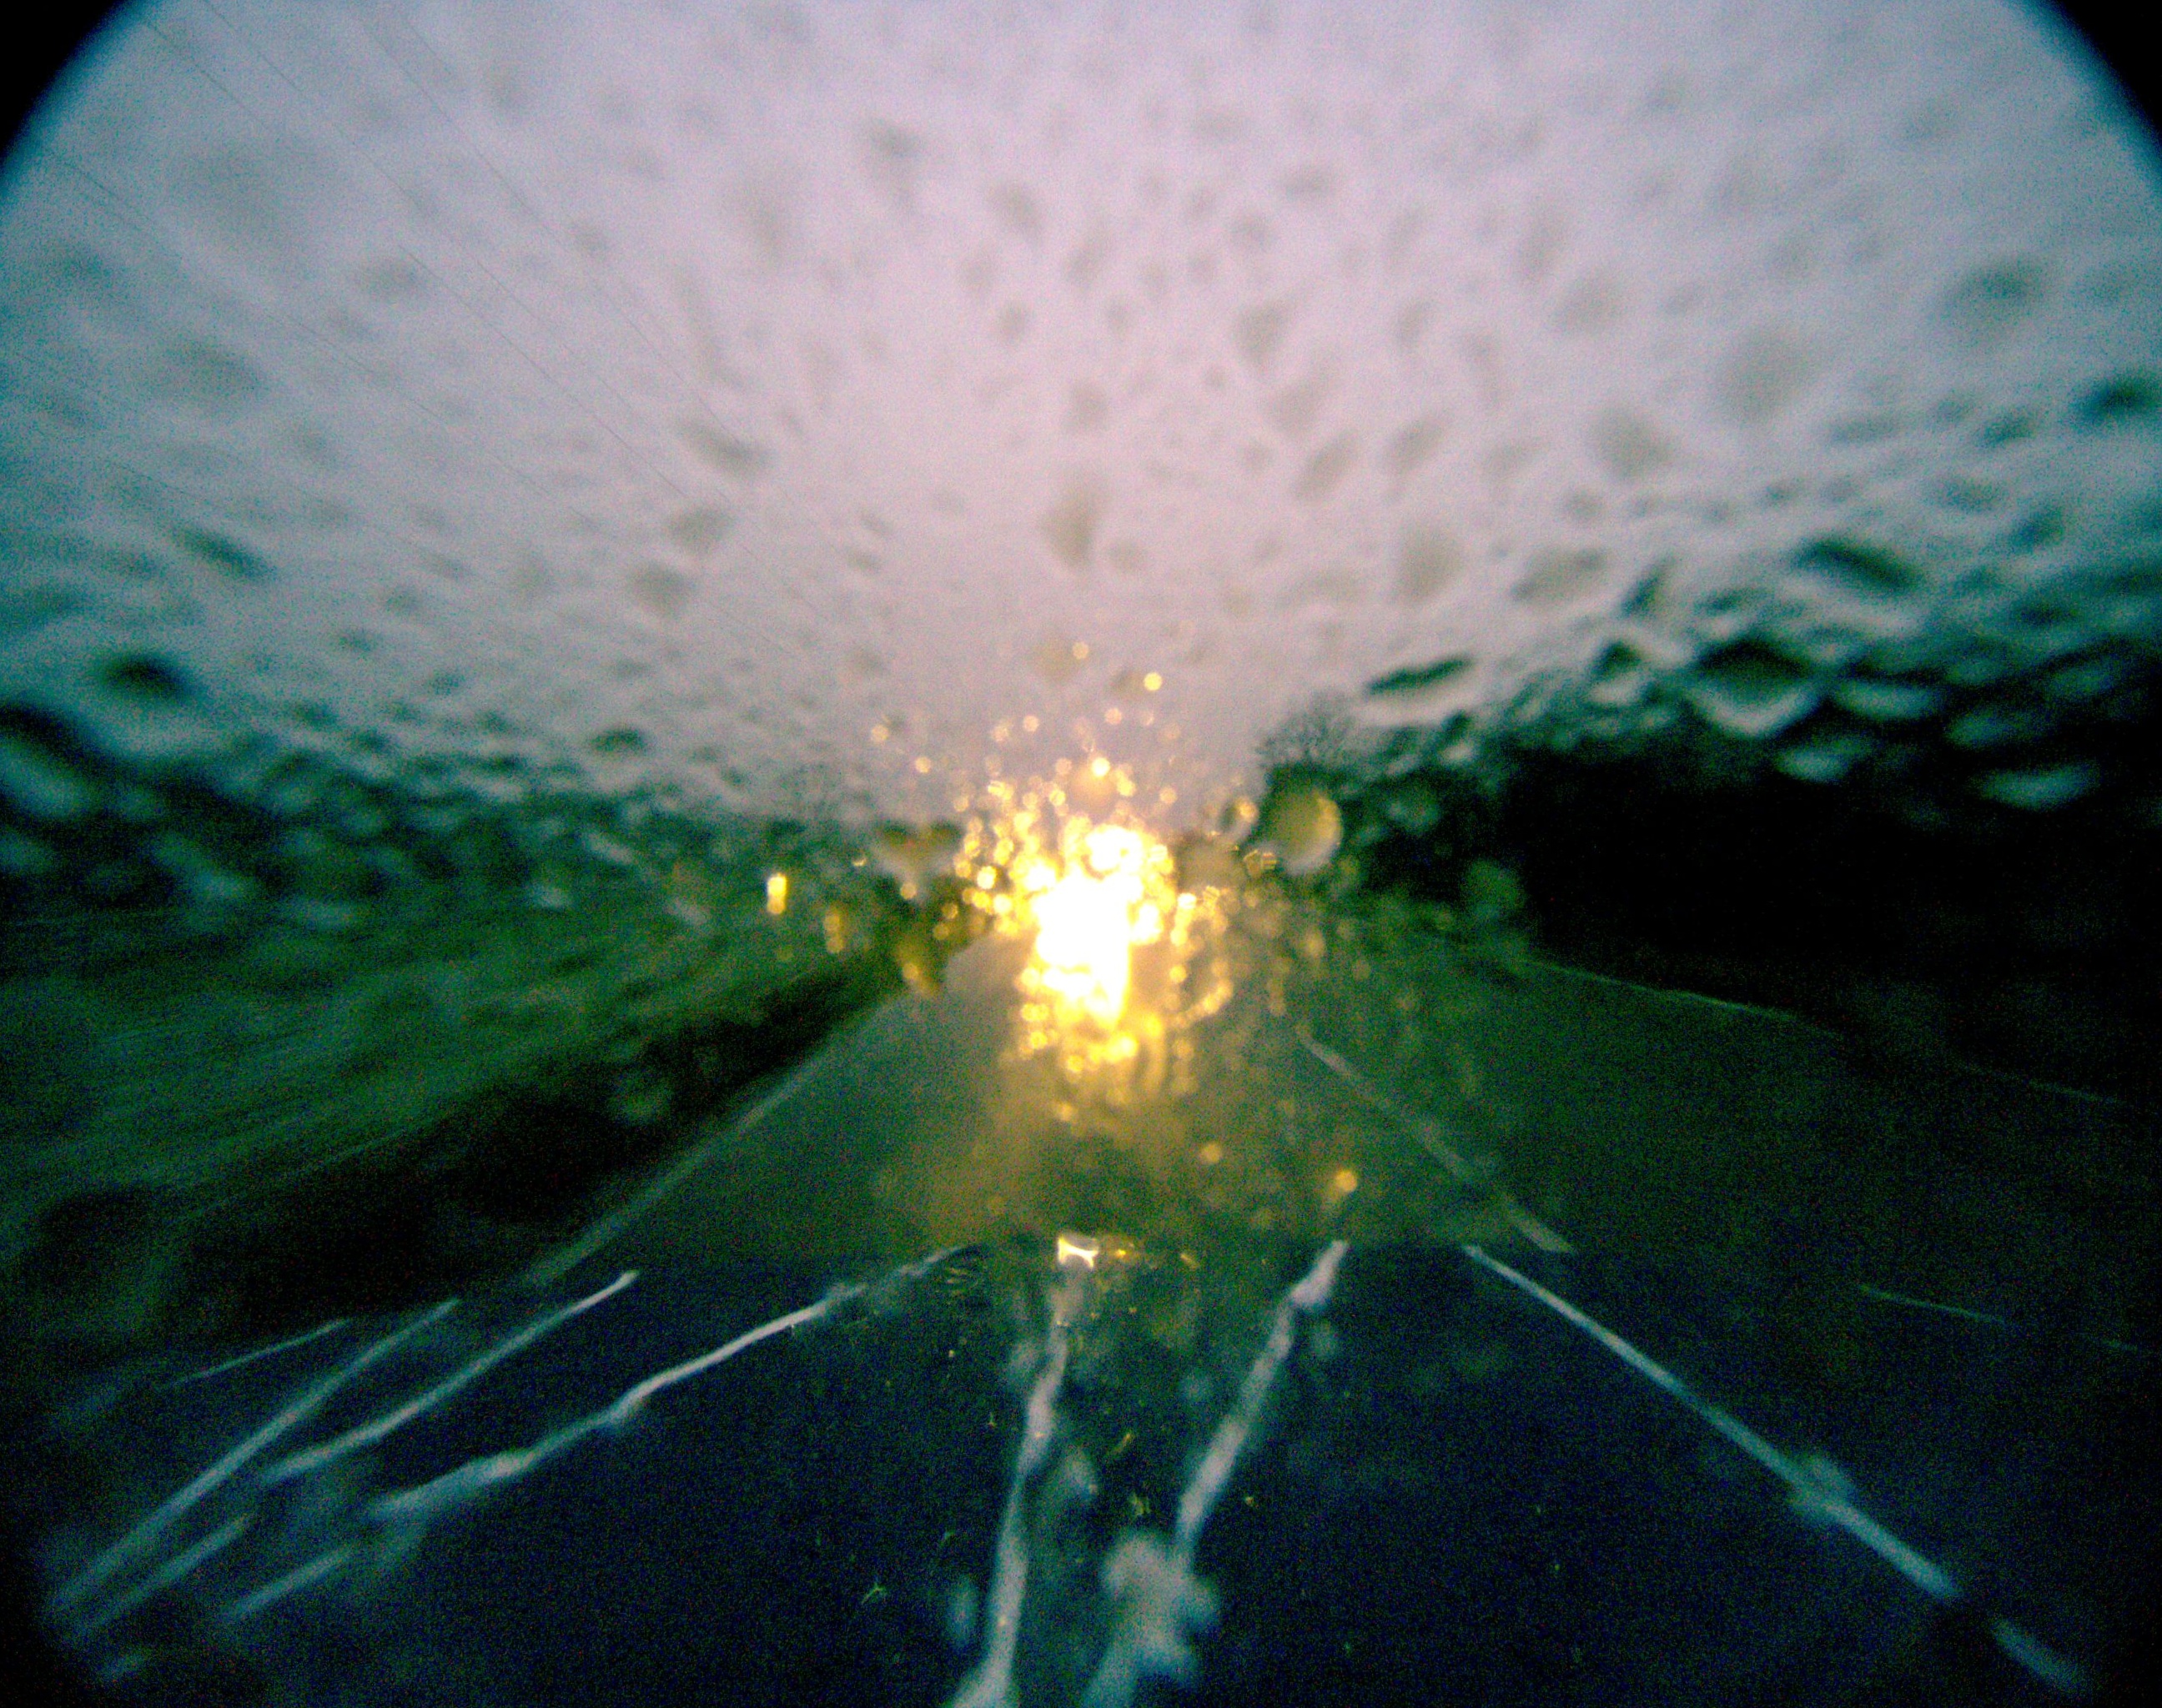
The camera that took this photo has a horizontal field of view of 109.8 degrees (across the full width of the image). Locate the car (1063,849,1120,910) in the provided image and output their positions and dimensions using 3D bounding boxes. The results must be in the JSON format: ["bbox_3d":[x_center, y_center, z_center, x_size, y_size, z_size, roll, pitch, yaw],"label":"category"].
[{"bbox_3d":[0.443,0.850,27.668,1.856,2.002,4.000,-2,0,2],"label":"car"}]

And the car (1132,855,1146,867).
[{"bbox_3d":[7.661,0.868,101.133,1.692,1.498,4.413,-2,0,2],"label":"car"}]

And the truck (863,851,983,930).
[{"bbox_3d":[-5.998,1.191,30.910,2.510,2.556,10.804,-2,0,0],"label":"truck"}]

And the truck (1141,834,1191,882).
[{"bbox_3d":[4.701,0.177,42.888,2.244,2.453,5.373,-2,0,1],"label":"truck"}]
